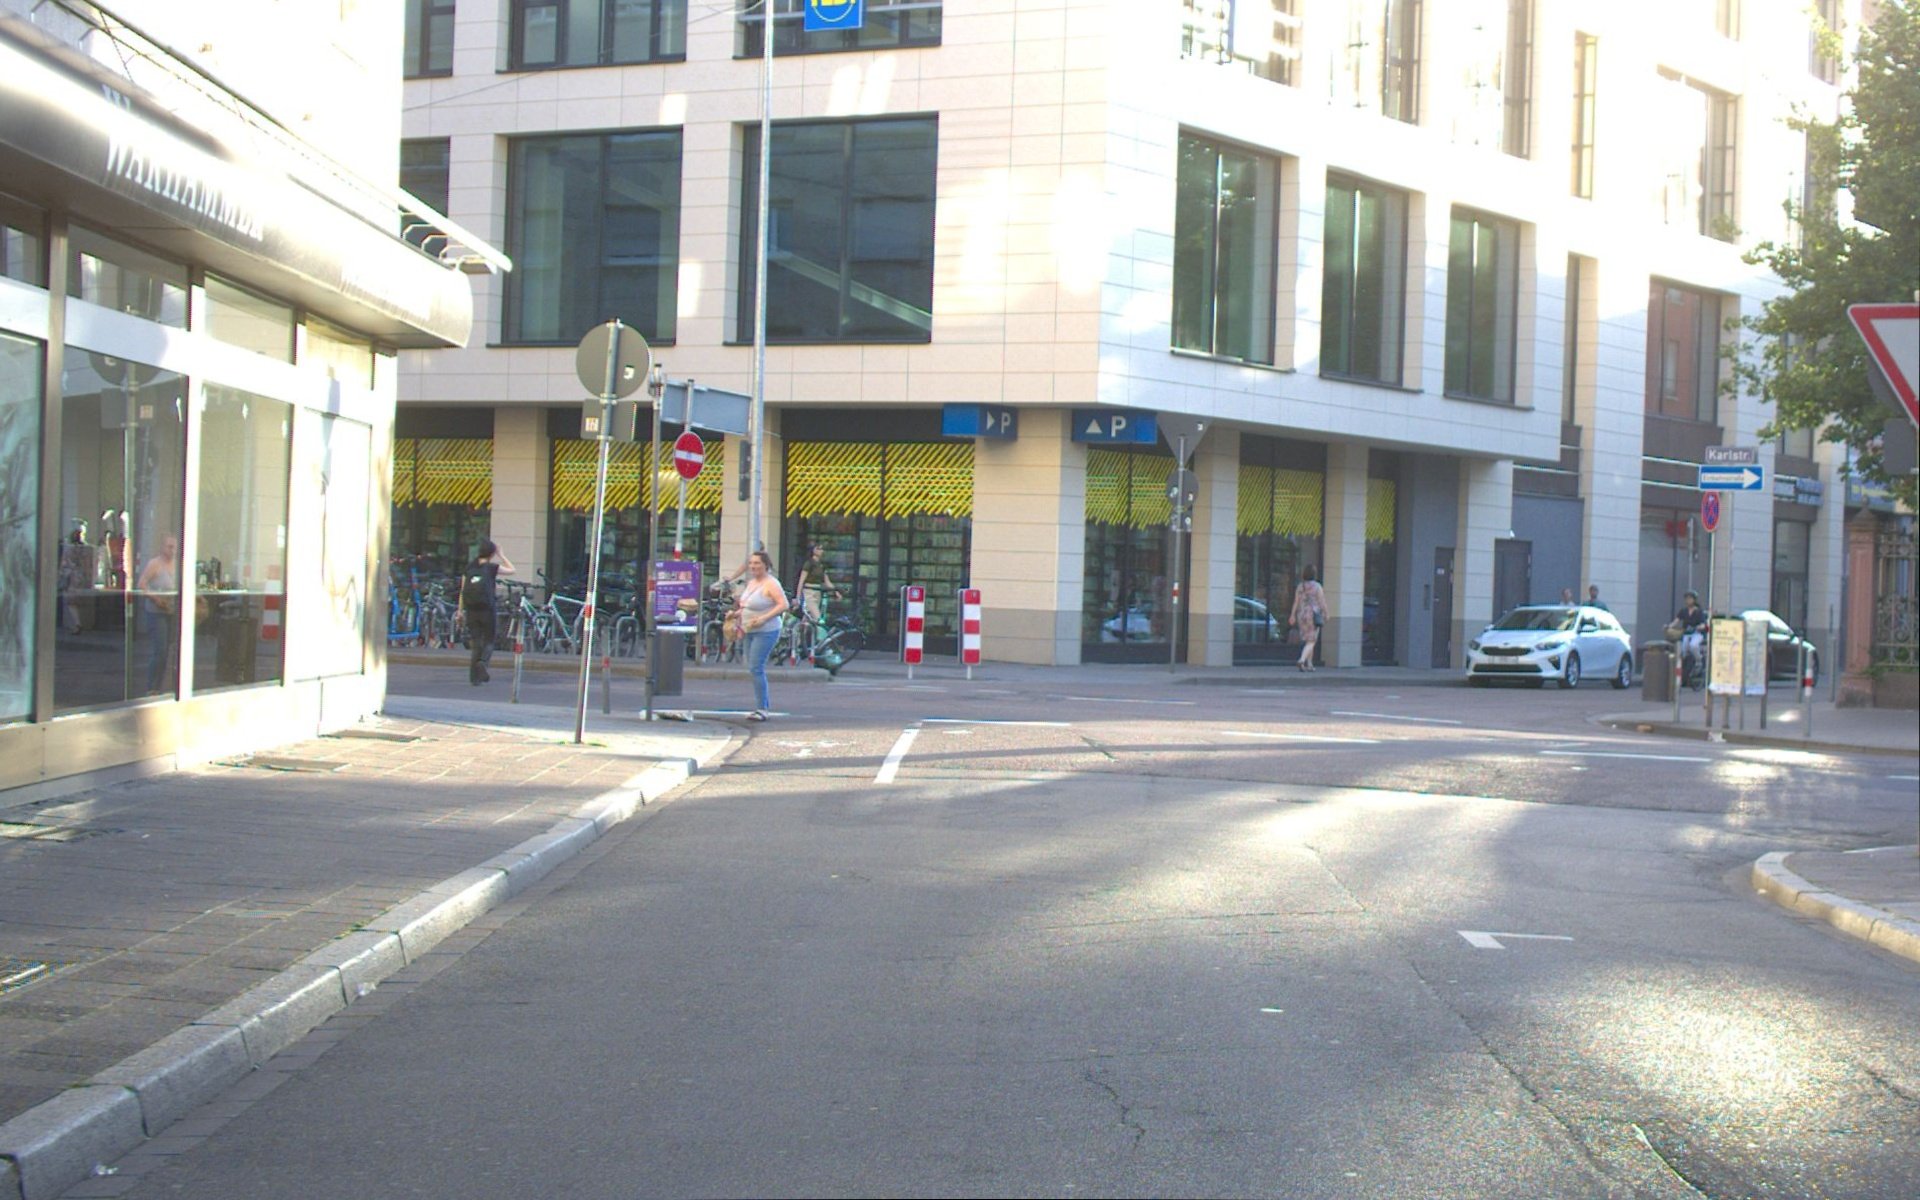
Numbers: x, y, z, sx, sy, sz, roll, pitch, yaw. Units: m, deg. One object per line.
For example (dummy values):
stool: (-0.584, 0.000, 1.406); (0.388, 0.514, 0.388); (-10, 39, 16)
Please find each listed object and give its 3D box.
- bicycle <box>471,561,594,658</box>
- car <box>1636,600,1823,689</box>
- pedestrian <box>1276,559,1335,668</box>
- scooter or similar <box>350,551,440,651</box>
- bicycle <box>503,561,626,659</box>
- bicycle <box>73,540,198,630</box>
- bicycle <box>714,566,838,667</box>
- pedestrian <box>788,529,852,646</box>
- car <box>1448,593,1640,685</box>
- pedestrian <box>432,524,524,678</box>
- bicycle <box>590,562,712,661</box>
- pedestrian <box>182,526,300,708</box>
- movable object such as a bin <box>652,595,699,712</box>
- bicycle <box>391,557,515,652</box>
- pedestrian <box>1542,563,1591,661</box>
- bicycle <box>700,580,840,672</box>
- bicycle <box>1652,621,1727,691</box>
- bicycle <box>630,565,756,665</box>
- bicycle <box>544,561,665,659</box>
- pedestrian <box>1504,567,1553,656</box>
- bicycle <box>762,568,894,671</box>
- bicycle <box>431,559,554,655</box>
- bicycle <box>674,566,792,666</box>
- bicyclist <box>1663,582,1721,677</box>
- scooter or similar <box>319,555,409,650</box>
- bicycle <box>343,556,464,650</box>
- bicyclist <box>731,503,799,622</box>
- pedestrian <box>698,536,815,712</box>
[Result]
bicycle: (-5.807, 0.137, 46.785); (0.512, 1.250, 1.975); (2, 0, 30)
car: (14.848, 0.863, 66.154); (1.887, 1.592, 4.680); (2, 0, 34)
pedestrian: (5.603, 0.225, 55.811); (0.673, 1.738, 0.646); (2, 0, 32)
scooter or similar: (-7.382, 0.023, 44.983); (0.387, 1.256, 1.268); (2, 0, 30)
bicycle: (-5.335, 0.145, 46.462); (0.512, 1.250, 1.975); (2, 0, 30)
bicycle: (-12.137, -0.212, 50.683); (0.512, 1.250, 1.975); (2, 0, 30)
bicycle: (-2.375, 0.226, 44.688); (0.582, 1.250, 2.041); (2, 0, 28)
pedestrian: (-2.088, -0.189, 51.217); (0.635, 1.717, 0.845); (2, 0, -23)
car: (9.985, 0.679, 58.566); (1.781, 1.448, 4.223); (2, 0, 30)
pedestrian: (-5.320, 0.005, 37.934); (0.869, 1.652, 0.619); (2, 0, -15)
bicycle: (-4.099, 0.161, 45.732); (0.512, 1.250, 1.975); (2, 0, 30)
pedestrian: (-6.544, 0.153, 31.328); (0.732, 1.607, 0.804); (2, 0, 12)
movable object such as a bin: (-2.613, 0.488, 31.540); (0.359, 1.060, 0.356); (2, 0, -10)
bicycle: (-7.015, 0.070, 47.645); (0.512, 1.250, 1.975); (2, 0, 30)
pedestrian: (11.580, 0.233, 65.613); (0.673, 1.830, 0.646); (2, 0, 30)
bicycle: (-2.767, 0.377, 49.963); (1.976, 1.250, 0.611); (3, 0, 31)
bicycle: (12.460, 0.964, 58.679); (0.665, 1.134, 1.819); (2, 0, 30)
bicycle: (-3.500, 0.205, 45.264); (0.512, 1.250, 1.975); (2, 0, 32)
bicycle: (-4.757, 0.140, 46.164); (0.512, 1.250, 1.975); (2, 0, 29)
pedestrian: (10.923, 0.224, 66.064); (0.673, 1.669, 0.646); (2, 0, 30)
bicycle: (-1.685, 0.262, 44.350); (0.665, 1.250, 2.137); (2, 0, 28)
bicycle: (-6.405, 0.110, 47.179); (0.512, 1.250, 1.975); (2, 0, 30)
bicycle: (-2.954, 0.218, 44.962); (0.512, 1.250, 1.976); (2, 0, 28)
bicyclist: (12.505, 0.505, 58.698); (0.659, 1.565, 0.862); (2, 0, 31)
scooter or similar: (-7.850, 0.036, 45.342); (0.387, 1.208, 1.268); (2, 0, 30)
bicycle: (-7.762, 0.049, 48.023); (0.512, 1.250, 1.975); (2, 0, 29)
bicyclist: (-2.830, -0.544, 49.959); (0.643, 1.690, 0.683); (2, 0, 32)
pedestrian: (-1.912, 0.221, 32.221); (0.802, 1.607, 0.735); (2, 0, -28)
